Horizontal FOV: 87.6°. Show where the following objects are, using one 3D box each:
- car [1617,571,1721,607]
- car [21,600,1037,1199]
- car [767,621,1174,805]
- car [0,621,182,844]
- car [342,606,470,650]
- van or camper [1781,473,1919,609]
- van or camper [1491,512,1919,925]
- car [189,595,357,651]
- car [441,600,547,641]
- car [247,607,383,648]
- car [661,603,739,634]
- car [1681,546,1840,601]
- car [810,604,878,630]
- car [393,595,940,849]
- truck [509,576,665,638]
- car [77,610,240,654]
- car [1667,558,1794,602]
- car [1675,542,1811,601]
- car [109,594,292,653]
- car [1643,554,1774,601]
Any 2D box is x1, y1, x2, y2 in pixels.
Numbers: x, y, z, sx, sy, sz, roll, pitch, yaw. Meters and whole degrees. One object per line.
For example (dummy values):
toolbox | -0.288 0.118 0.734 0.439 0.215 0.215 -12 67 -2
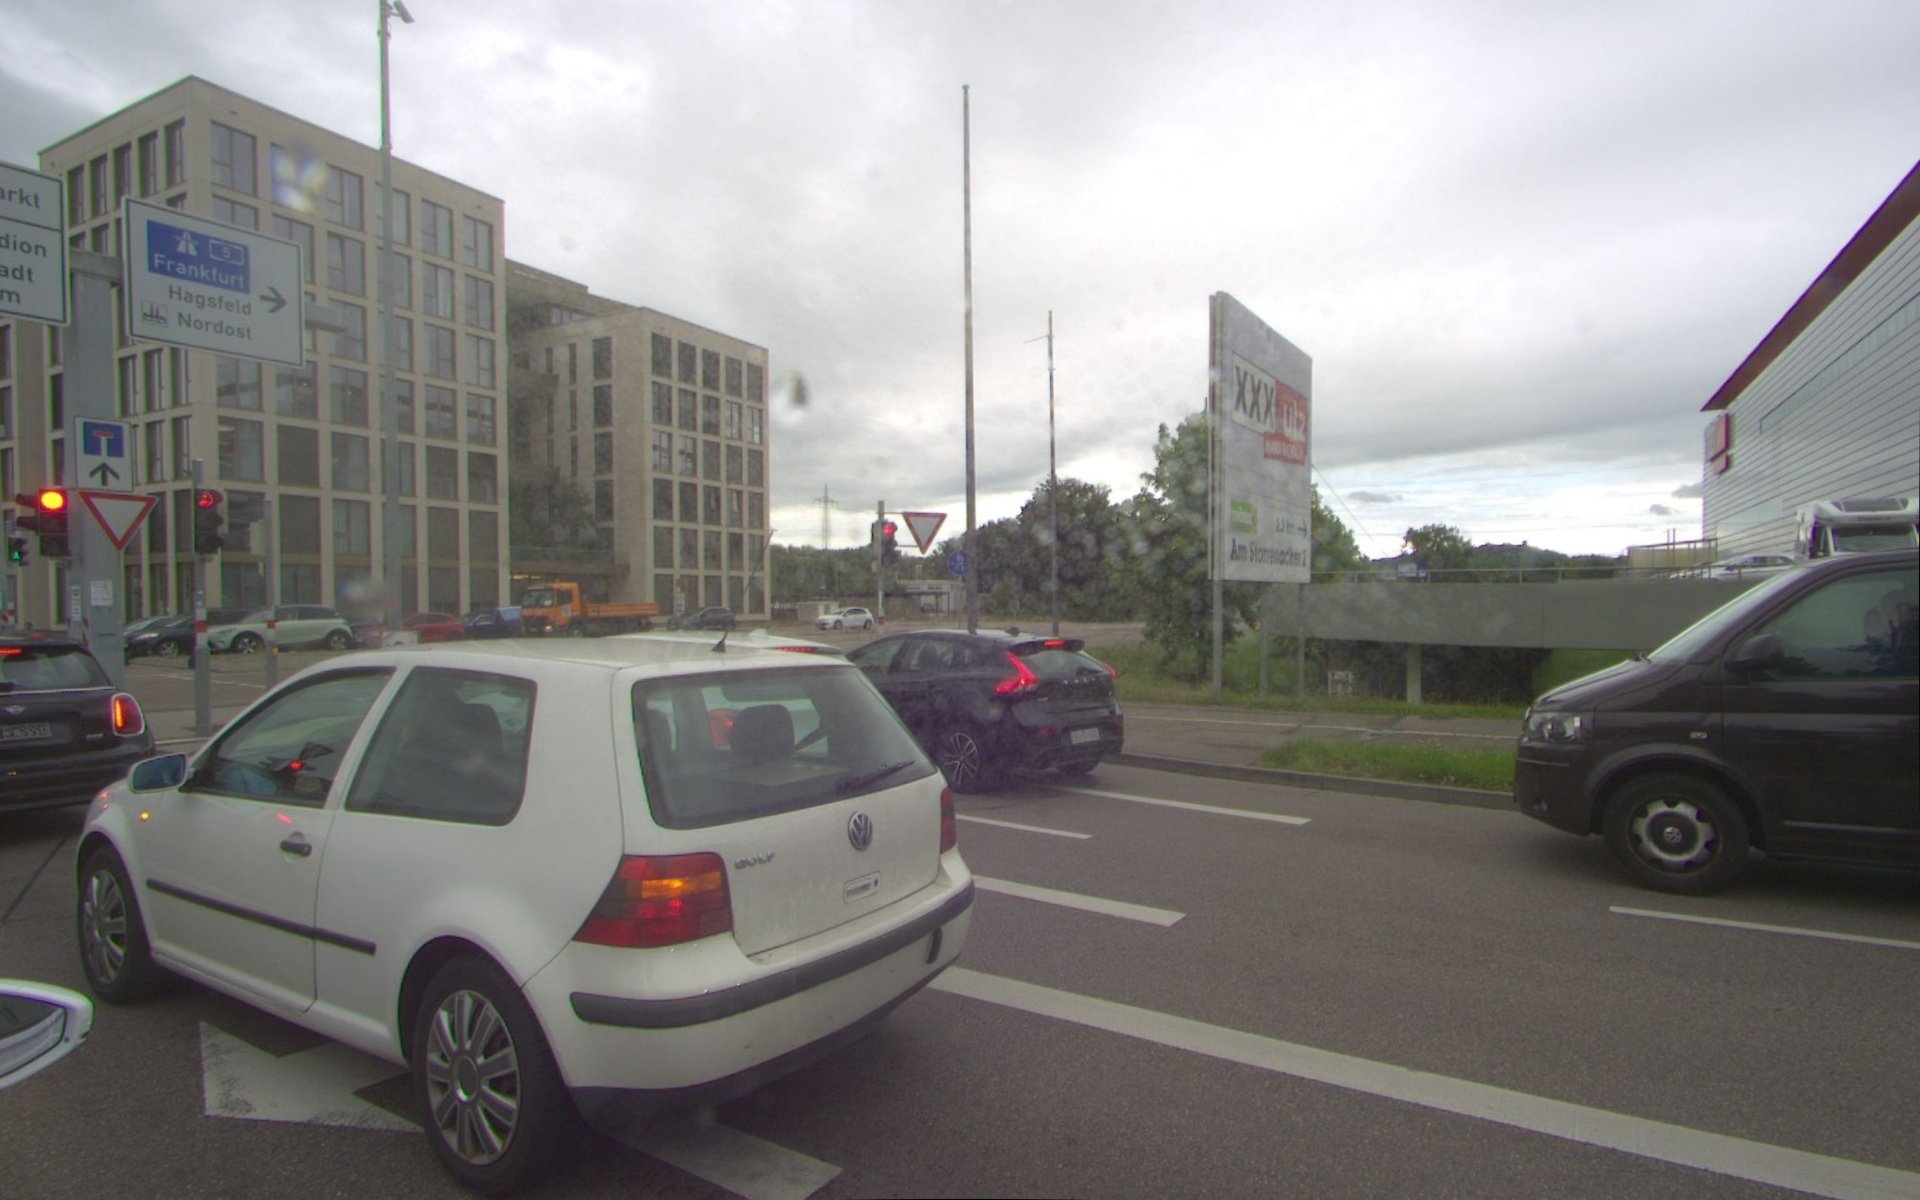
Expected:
car | 36.369 -0.538 51.499 4.199 1.697 1.768 -1 -2 32
car | -1.858 0.818 3.997 3.948 1.496 1.829 -1 -2 32
car | -0.086 0.979 10.195 1.885 1.467 4.144 1 -2 -41
car | -7.642 0.894 7.481 3.591 1.433 1.783 -1 -2 32
car | -21.633 1.124 39.246 1.970 1.622 3.984 -1 -2 29
van or camper | 25.384 -1.441 28.049 2.676 3.175 7.201 -1 -2 32
van or camper | 5.810 0.602 5.508 4.878 2.039 2.151 -1 -2 35
car | -21.852 0.777 32.020 1.875 1.664 4.055 -1 -2 27
car | -21.529 0.983 46.452 1.969 1.791 4.134 -1 -2 28
car | -25.225 1.113 39.288 1.843 1.509 4.134 -1 -2 28
car | -14.953 1.092 57.796 1.972 1.678 4.098 -1 -2 33
car | 28.401 -0.891 35.720 4.199 1.697 1.768 -1 -2 32
car | -7.697 1.178 66.742 1.979 1.678 4.323 -2 -2 43
car | -2.348 0.758 7.588 4.142 1.428 1.824 -2 -2 35
truck | -17.330 0.432 46.981 2.779 2.672 6.647 -1 -2 30
car | -27.754 1.117 34.826 1.724 1.450 4.083 -1 -2 28
car | 33.358 -0.820 43.519 4.199 1.697 1.768 -1 -2 32
car | 30.204 -1.061 38.797 3.945 2.039 1.989 -1 -2 34
car | -25.000 0.805 33.127 1.969 1.791 4.405 -1 -2 28
car | 30.950 -0.885 41.566 4.199 1.697 1.768 -1 -2 32
